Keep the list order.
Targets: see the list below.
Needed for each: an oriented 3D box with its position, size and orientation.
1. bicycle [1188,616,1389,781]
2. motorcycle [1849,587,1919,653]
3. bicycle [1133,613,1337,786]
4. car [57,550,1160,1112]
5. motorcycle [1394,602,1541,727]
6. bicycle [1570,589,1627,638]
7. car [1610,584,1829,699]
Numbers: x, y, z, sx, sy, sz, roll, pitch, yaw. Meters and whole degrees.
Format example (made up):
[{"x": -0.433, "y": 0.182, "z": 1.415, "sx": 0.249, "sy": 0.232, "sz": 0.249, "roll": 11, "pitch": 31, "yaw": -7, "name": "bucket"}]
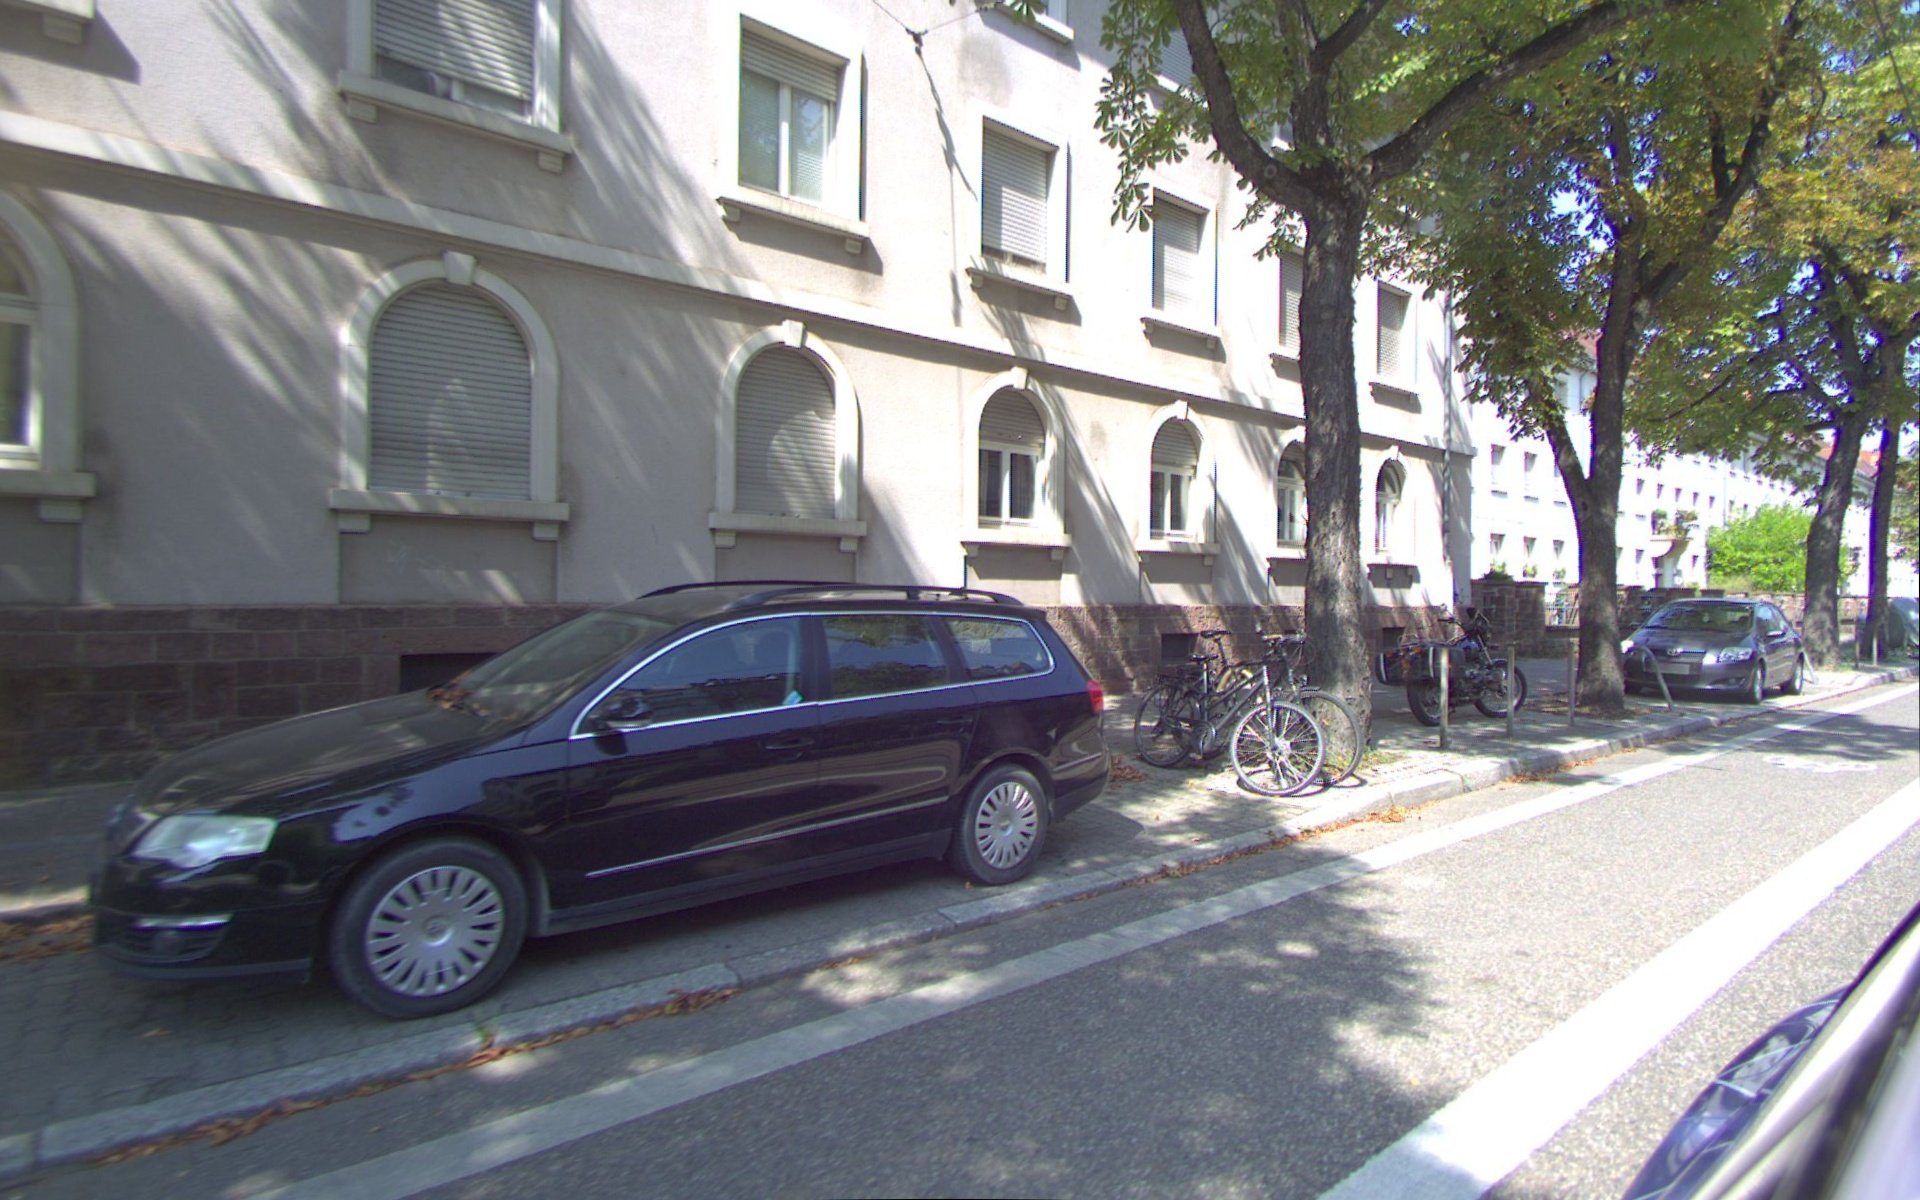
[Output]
[{"x": 2.494, "y": 0.699, "z": 7.862, "sx": 0.391, "sy": 1.118, "sz": 1.612, "roll": 1, "pitch": 0, "yaw": -32, "name": "bicycle"}, {"x": 24.209, "y": 0.491, "z": 25.851, "sx": 0.951, "sy": 1.559, "sz": 2.346, "roll": 0, "pitch": 2, "yaw": 2, "name": "motorcycle"}, {"x": 2.061, "y": 0.700, "z": 7.822, "sx": 0.369, "sy": 1.164, "sz": 1.729, "roll": 1, "pitch": 0, "yaw": -32, "name": "bicycle"}, {"x": -1.256, "y": 0.610, "z": 5.006, "sx": 4.694, "sy": 1.551, "sz": 1.845, "roll": 0, "pitch": 2, "yaw": -40, "name": "car"}, {"x": 5.666, "y": 0.658, "z": 11.235, "sx": 2.139, "sy": 1.271, "sz": 0.711, "roll": 0, "pitch": 0, "yaw": -41, "name": "motorcycle"}, {"x": 18.324, "y": 0.366, "z": 29.010, "sx": 2.324, "sy": 1.375, "sz": 0.596, "roll": 0, "pitch": 0, "yaw": -37, "name": "bicycle"}, {"x": 11.962, "y": 0.619, "z": 15.850, "sx": 4.040, "sy": 1.551, "sz": 1.844, "roll": 2, "pitch": -1, "yaw": -40, "name": "car"}]
